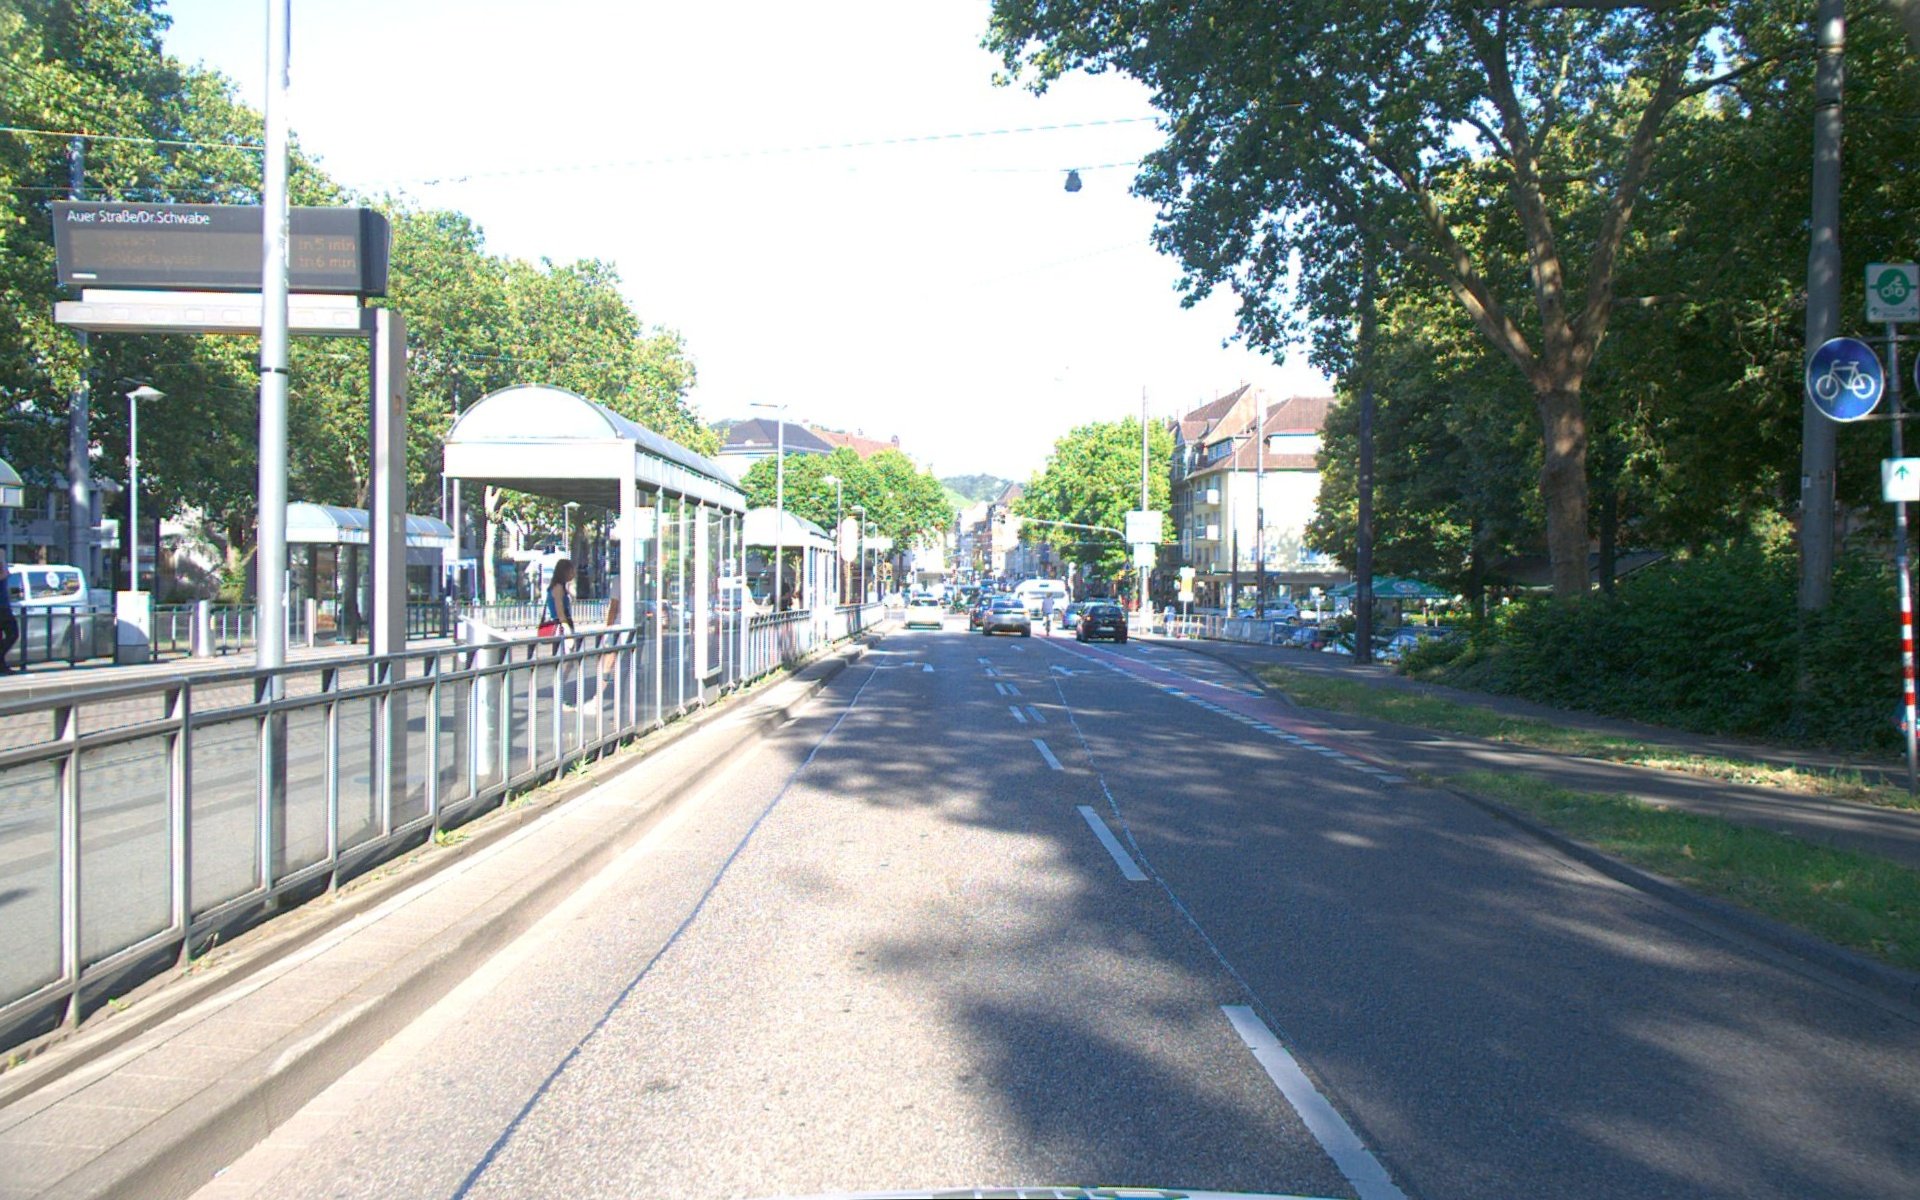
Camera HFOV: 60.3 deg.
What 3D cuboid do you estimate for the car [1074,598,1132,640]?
[{"bbox_3d":[5.402,0.714,62.883,1.764,1.464,4.044,2,0,-1],"label":"car"}]

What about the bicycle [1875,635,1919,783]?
[{"bbox_3d":[7.765,0.846,12.419,0.750,1.127,1.799,0,0,-1],"label":"bicycle"}]

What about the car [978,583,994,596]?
[{"bbox_3d":[3.154,-1.281,200.064,1.758,1.537,3.998,1,0,-2],"label":"car"}]

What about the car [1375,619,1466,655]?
[{"bbox_3d":[19.579,1.540,70.291,3.960,1.371,1.755,-1,1,-39],"label":"car"}]

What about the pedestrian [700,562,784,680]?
[{"bbox_3d":[-3.191,0.305,24.197,0.786,1.662,0.863,2,0,36],"label":"pedestrian"}]

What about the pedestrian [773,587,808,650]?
[{"bbox_3d":[-3.644,0.400,35.649,0.664,1.331,0.593,1,0,-1],"label":"pedestrian"}]

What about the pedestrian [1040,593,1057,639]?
[{"bbox_3d":[3.681,0.676,68.682,0.643,1.904,0.677,1,0,-2],"label":"pedestrian"}]

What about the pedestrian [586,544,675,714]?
[{"bbox_3d":[-3.446,0.297,17.353,0.727,1.724,0.791,2,0,-1],"label":"pedestrian"}]

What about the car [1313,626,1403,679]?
[{"bbox_3d":[12.977,1.685,54.130,1.758,1.606,4.441,2,-1,-1],"label":"car"}]

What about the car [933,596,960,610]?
[{"bbox_3d":[-1.491,0.346,177.914,1.756,1.537,4.002,0,0,17],"label":"car"}]

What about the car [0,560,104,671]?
[{"bbox_3d":[-19.746,0.339,33.811,2.026,2.161,5.087,-1,0,-3],"label":"car"}]

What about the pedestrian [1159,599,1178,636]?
[{"bbox_3d":[9.119,0.775,72.438,0.634,1.590,0.632,3,0,18],"label":"pedestrian"}]

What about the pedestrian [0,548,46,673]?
[{"bbox_3d":[-13.914,0.147,24.214,0.634,1.803,0.650,1,-1,1],"label":"pedestrian"}]

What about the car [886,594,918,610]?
[{"bbox_3d":[-5.706,0.220,163.772,1.689,1.537,3.874,0,-1,23],"label":"car"}]

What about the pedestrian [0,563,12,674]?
[{"bbox_3d":[-13.949,0.254,23.456,0.580,1.571,0.626,2,-1,-1],"label":"pedestrian"}]

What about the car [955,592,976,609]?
[{"bbox_3d":[0.607,-0.002,185.395,1.756,1.858,4.003,1,0,9],"label":"car"}]

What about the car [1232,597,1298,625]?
[{"bbox_3d":[20.027,0.699,108.448,4.059,1.722,1.822,1,0,16],"label":"car"}]

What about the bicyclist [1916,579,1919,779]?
[{"bbox_3d":[7.754,0.603,12.424,0.750,1.539,0.650,0,0,-2],"label":"bicyclist"}]

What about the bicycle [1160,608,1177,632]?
[{"bbox_3d":[9.902,0.960,78.560,0.488,1.093,1.799,2,-1,-1],"label":"bicycle"}]

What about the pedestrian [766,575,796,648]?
[{"bbox_3d":[-4.221,0.272,38.999,0.583,1.707,0.590,1,0,4],"label":"pedestrian"}]

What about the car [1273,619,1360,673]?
[{"bbox_3d":[12.961,1.634,60.379,1.760,1.834,4.203,2,-1,-8],"label":"car"}]

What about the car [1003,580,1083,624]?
[{"bbox_3d":[5.462,0.151,109.281,4.920,2.791,2.070,1,-1,-8],"label":"car"}]

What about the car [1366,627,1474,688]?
[{"bbox_3d":[13.322,1.630,48.130,1.758,1.606,4.552,2,-1,-1],"label":"car"}]

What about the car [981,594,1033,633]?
[{"bbox_3d":[1.916,0.531,68.131,1.890,1.498,4.853,1,0,-1],"label":"car"}]

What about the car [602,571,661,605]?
[{"bbox_3d":[-31.511,-1.117,158.974,2.445,3.220,6.535,1,0,21],"label":"car"}]

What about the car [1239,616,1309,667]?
[{"bbox_3d":[12.528,1.632,66.224,1.758,1.931,4.356,2,-1,-3],"label":"car"}]

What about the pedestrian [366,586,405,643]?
[{"bbox_3d":[-13.903,0.345,40.052,0.656,1.348,0.756,-2,0,-3],"label":"pedestrian"}]

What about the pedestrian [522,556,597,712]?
[{"bbox_3d":[-4.210,0.347,17.406,0.576,1.594,0.650,2,0,-1],"label":"pedestrian"}]

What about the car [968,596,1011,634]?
[{"bbox_3d":[1.322,0.660,75.249,1.764,1.666,4.044,1,0,-2],"label":"car"}]

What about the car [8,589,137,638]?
[{"bbox_3d":[-44.541,0.652,83.177,2.107,2.376,5.723,1,0,22],"label":"car"}]

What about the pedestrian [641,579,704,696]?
[{"bbox_3d":[-4.385,0.566,25.214,0.646,1.752,0.701,2,0,-37],"label":"pedestrian"}]

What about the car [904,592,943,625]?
[{"bbox_3d":[-1.712,0.379,76.915,1.772,1.478,3.999,1,0,-2],"label":"car"}]

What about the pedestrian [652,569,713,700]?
[{"bbox_3d":[-4.079,0.501,24.348,0.637,1.873,0.711,2,0,9],"label":"pedestrian"}]

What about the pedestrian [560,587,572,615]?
[{"bbox_3d":[-22.215,0.038,93.168,0.524,1.579,0.676,1,0,-2],"label":"pedestrian"}]
